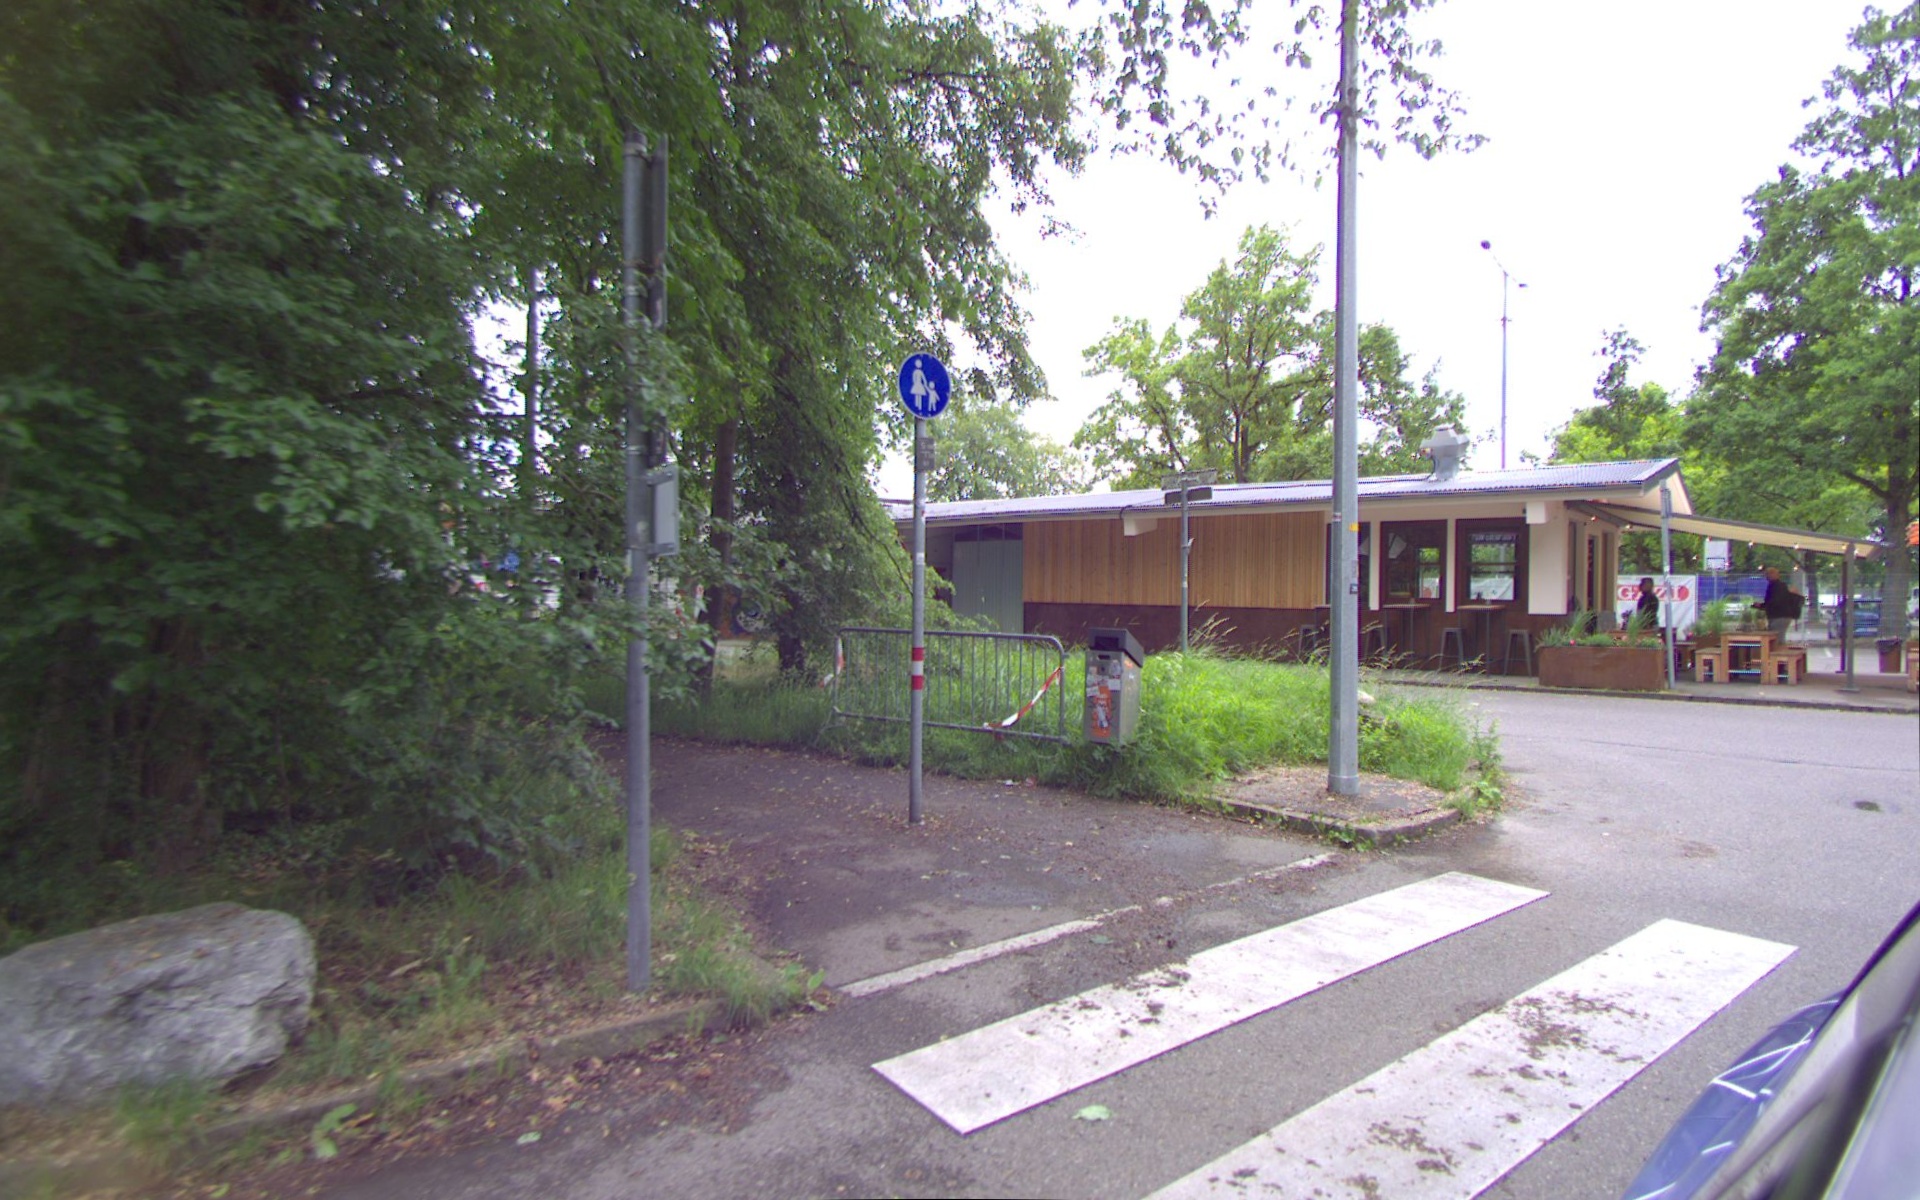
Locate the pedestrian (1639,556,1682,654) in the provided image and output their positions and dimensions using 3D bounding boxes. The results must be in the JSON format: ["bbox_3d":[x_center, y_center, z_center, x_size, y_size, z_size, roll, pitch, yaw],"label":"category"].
[{"bbox_3d":[12.394,0.081,17.914,0.529,1.688,0.586,0,0,44],"label":"pedestrian"}]

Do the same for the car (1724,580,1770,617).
[{"bbox_3d":[44.828,-0.092,57.725,1.988,2.039,3.947,0,0,37],"label":"car"}]

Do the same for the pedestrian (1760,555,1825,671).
[{"bbox_3d":[13.828,0.206,16.814,0.698,1.854,0.748,0,0,-44],"label":"pedestrian"}]

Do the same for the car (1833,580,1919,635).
[{"bbox_3d":[28.073,0.195,30.974,1.991,1.571,3.942,0,0,40],"label":"car"}]
